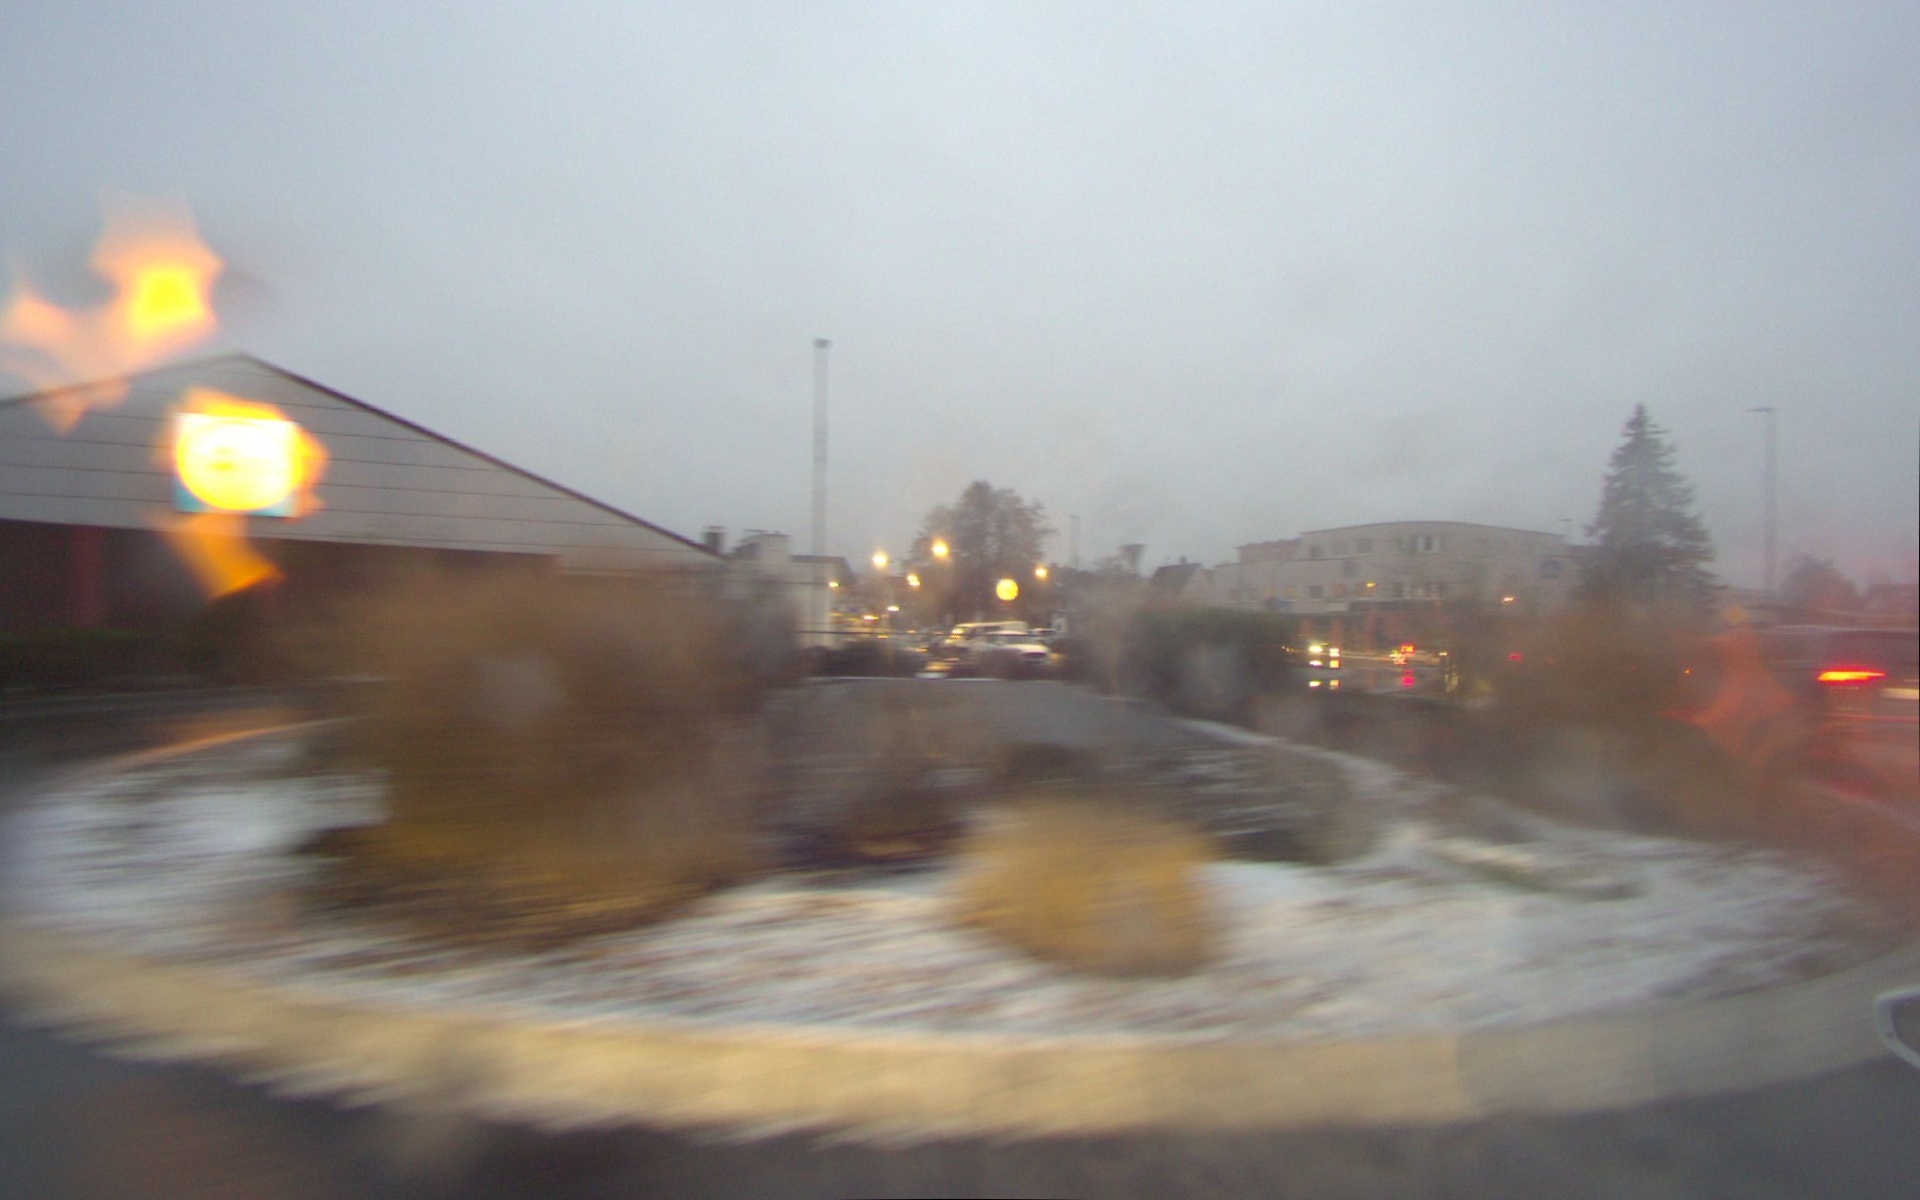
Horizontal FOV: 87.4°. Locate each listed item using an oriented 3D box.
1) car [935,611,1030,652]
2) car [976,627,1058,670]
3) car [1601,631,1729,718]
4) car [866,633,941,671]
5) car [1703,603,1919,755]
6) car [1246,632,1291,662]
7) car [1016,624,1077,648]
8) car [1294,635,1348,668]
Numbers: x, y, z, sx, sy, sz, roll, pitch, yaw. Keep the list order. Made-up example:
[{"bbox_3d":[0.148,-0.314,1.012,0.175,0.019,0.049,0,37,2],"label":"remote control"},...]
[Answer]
[{"bbox_3d":[1.380,1.925,60.465,5.357,2.162,2.018,4,-1,-28],"label":"car"},{"bbox_3d":[2.373,2.044,43.194,2.033,1.582,4.263,3,-1,-18],"label":"car"},{"bbox_3d":[16.225,1.623,23.346,2.133,1.712,4.561,-1,-1,31],"label":"car"},{"bbox_3d":[-2.410,2.173,42.163,1.816,1.328,3.977,3,-1,-24],"label":"car"},{"bbox_3d":[11.771,0.969,13.530,1.913,1.741,3.998,1,-1,23],"label":"car"},{"bbox_3d":[23.479,3.558,76.629,2.127,2.087,4.572,1,-1,2],"label":"car"},{"bbox_3d":[6.583,2.733,76.330,4.294,1.770,1.697,2,-1,-23],"label":"car"},{"bbox_3d":[25.249,3.601,70.403,2.127,2.087,4.572,1,-1,1],"label":"car"}]
